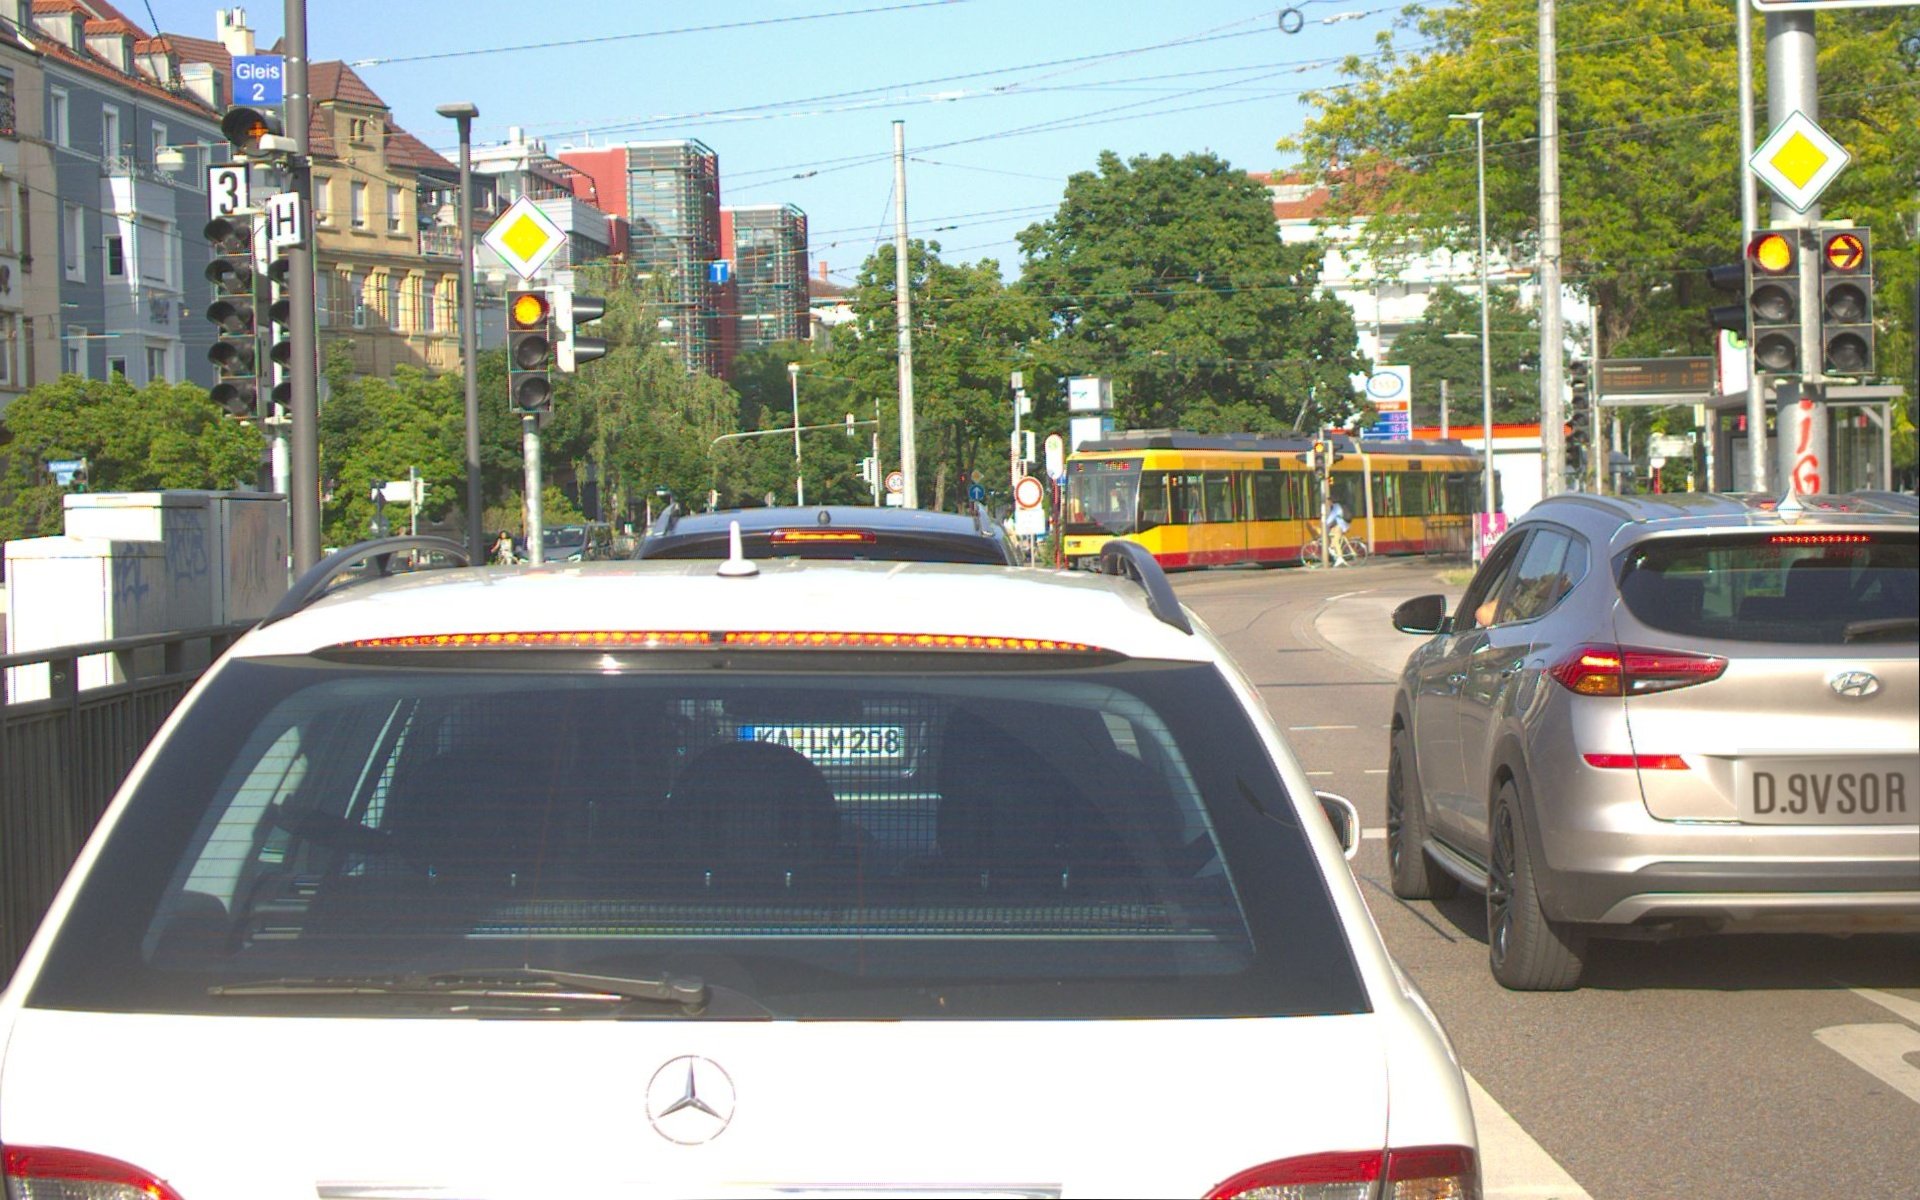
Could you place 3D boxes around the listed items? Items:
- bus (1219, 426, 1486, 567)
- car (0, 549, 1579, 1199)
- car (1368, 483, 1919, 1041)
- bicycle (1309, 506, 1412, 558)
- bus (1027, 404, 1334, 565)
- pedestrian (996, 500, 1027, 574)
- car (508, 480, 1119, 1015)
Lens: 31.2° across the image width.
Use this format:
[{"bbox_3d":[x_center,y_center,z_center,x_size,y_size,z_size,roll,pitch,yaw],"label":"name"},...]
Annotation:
[{"bbox_3d":[11.050,-2.753,95.208,3.113,3.593,12.572,1,1,27],"label":"bus"},{"bbox_3d":[-0.353,0.670,4.997,1.796,1.465,3.648,0,1,-1],"label":"car"},{"bbox_3d":[2.640,0.439,12.179,1.885,1.645,3.648,-2,1,0],"label":"car"},{"bbox_3d":[9.923,-1.693,85.148,2.483,1.209,0.806,-1,1,8],"label":"bicycle"},{"bbox_3d":[5.605,-2.695,83.936,3.113,3.593,12.358,1,1,25],"label":"bus"},{"bbox_3d":[1.307,-1.608,86.987,0.642,1.850,0.551,-1,1,11],"label":"pedestrian"},{"bbox_3d":[-0.474,0.422,12.544,1.885,1.645,3.648,1,1,0],"label":"car"}]
